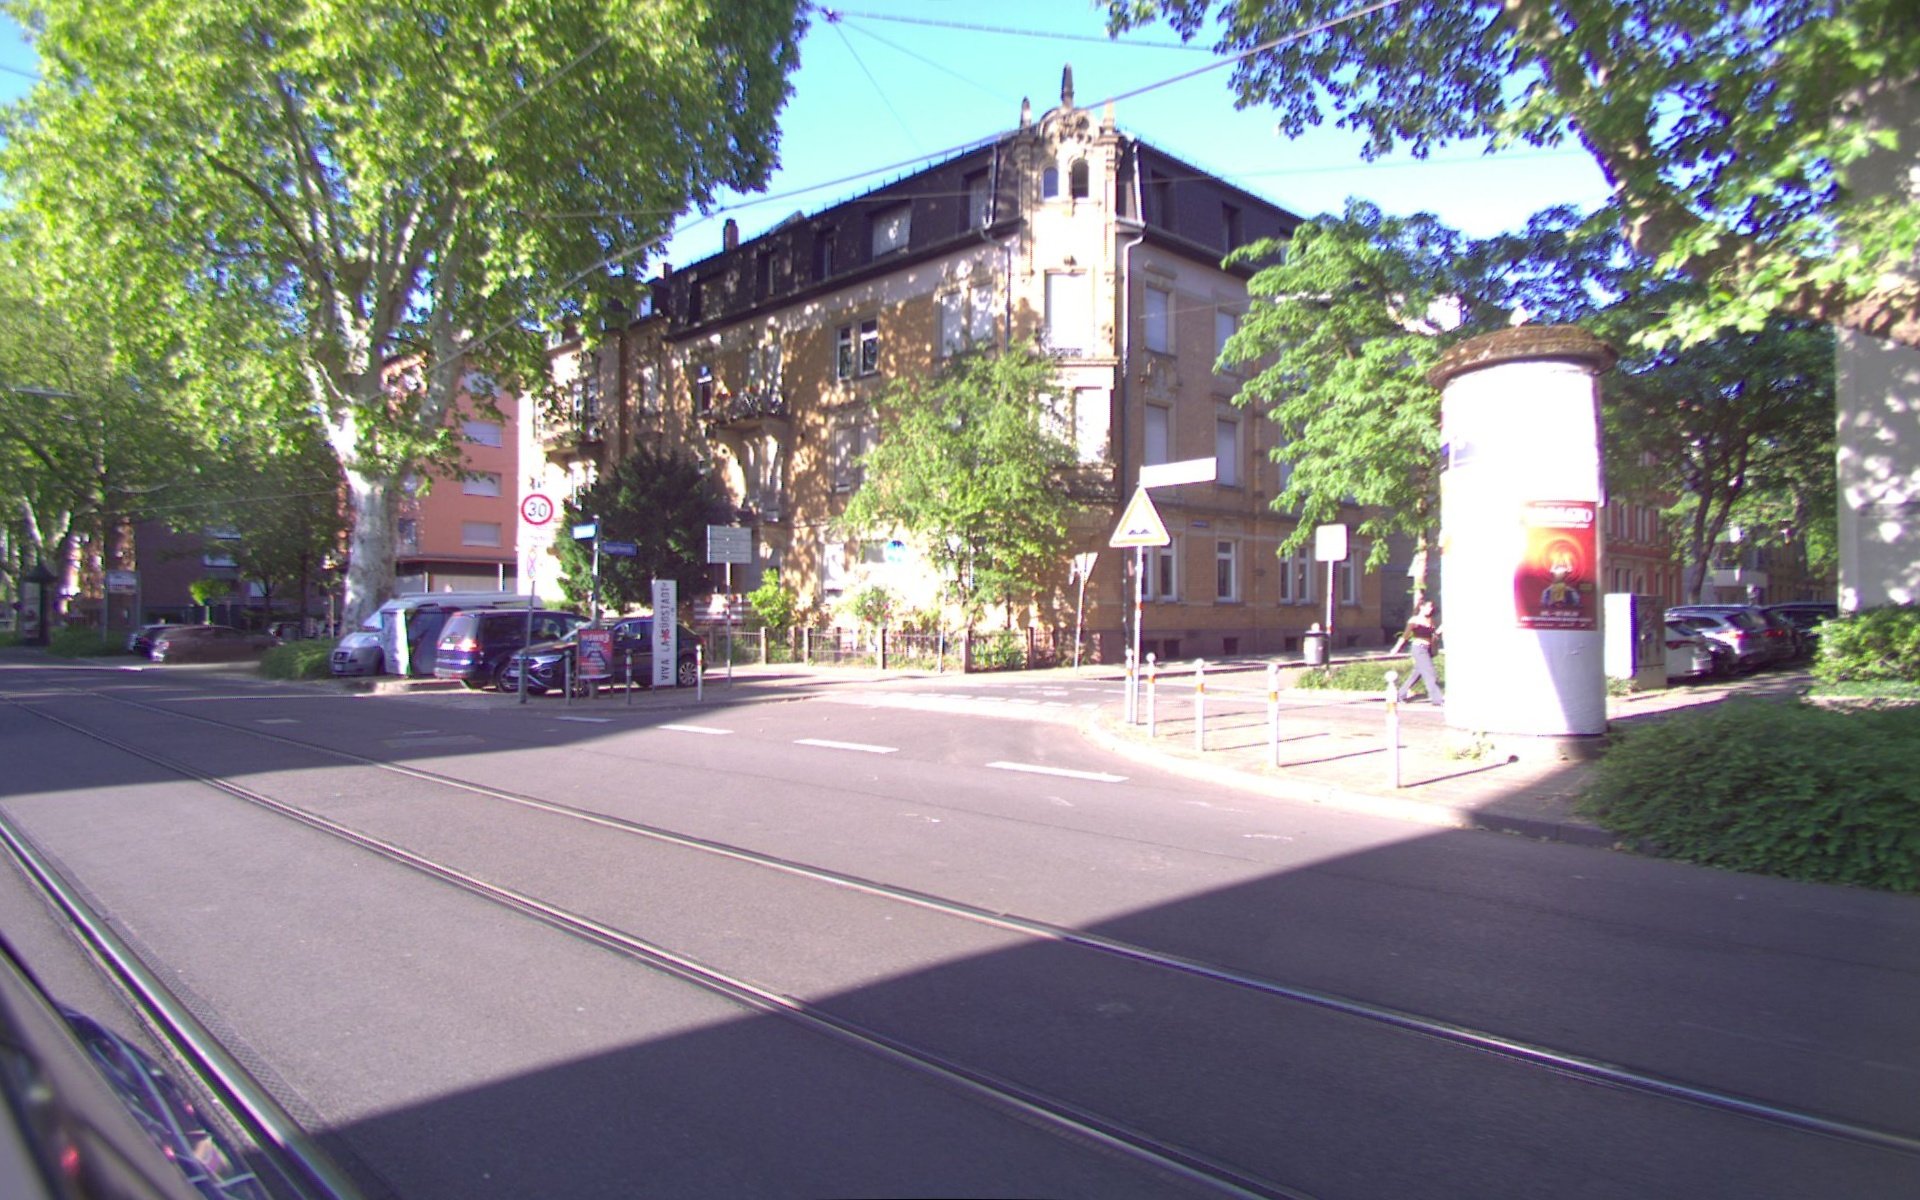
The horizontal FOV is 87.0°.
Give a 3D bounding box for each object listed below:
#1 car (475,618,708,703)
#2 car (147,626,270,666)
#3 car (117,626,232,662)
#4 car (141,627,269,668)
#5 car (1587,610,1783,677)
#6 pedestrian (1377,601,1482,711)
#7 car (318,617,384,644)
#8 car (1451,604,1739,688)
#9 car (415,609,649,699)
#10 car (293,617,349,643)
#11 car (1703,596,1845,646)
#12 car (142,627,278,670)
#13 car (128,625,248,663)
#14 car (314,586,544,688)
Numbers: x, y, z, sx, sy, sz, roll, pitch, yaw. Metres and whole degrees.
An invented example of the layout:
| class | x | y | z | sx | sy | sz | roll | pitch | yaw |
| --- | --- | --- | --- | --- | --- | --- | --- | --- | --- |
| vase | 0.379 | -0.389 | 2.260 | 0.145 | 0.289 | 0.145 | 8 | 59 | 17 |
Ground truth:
| class | x | y | z | sx | sy | sz | roll | pitch | yaw |
| --- | --- | --- | --- | --- | --- | --- | --- | --- | --- |
| car | -7.478 | 1.163 | 20.833 | 1.924 | 1.527 | 4.118 | -2 | -2 | 39 |
| car | -32.025 | 1.931 | 43.206 | 1.809 | 1.527 | 3.917 | -2 | -2 | 39 |
| car | -36.252 | 1.994 | 46.755 | 1.809 | 1.527 | 3.917 | -2 | -2 | 39 |
| car | -30.746 | 1.912 | 41.295 | 1.809 | 1.527 | 3.917 | -2 | -2 | 39 |
| car | 16.360 | 0.940 | 22.942 | 1.460 | 1.402 | 3.352 | 0 | -1 | -41 |
| pedestrian | 7.195 | 0.821 | 15.517 | 1.076 | 1.589 | 1.029 | 0 | 0 | -31 |
| car | -33.941 | 1.694 | 56.360 | 4.606 | 1.458 | 1.650 | -1 | -4 | 40 |
| car | 12.649 | 0.860 | 20.431 | 1.681 | 1.507 | 4.616 | 0 | -1 | -41 |
| car | -9.447 | 1.122 | 22.614 | 2.026 | 1.779 | 4.408 | -2 | -2 | 39 |
| car | -37.433 | 1.775 | 59.265 | 3.648 | 1.458 | 1.650 | -1 | -4 | 39 |
| car | 26.191 | 0.661 | 32.623 | 1.460 | 1.530 | 3.352 | 0 | -1 | -41 |
| car | -28.918 | 1.831 | 39.118 | 1.809 | 1.527 | 3.917 | -2 | -2 | 39 |
| car | -34.187 | 1.931 | 44.891 | 1.809 | 1.527 | 3.917 | -2 | -2 | 39 |
| car | -13.777 | 0.912 | 26.531 | 2.026 | 2.416 | 4.956 | -2 | -2 | 39 |
